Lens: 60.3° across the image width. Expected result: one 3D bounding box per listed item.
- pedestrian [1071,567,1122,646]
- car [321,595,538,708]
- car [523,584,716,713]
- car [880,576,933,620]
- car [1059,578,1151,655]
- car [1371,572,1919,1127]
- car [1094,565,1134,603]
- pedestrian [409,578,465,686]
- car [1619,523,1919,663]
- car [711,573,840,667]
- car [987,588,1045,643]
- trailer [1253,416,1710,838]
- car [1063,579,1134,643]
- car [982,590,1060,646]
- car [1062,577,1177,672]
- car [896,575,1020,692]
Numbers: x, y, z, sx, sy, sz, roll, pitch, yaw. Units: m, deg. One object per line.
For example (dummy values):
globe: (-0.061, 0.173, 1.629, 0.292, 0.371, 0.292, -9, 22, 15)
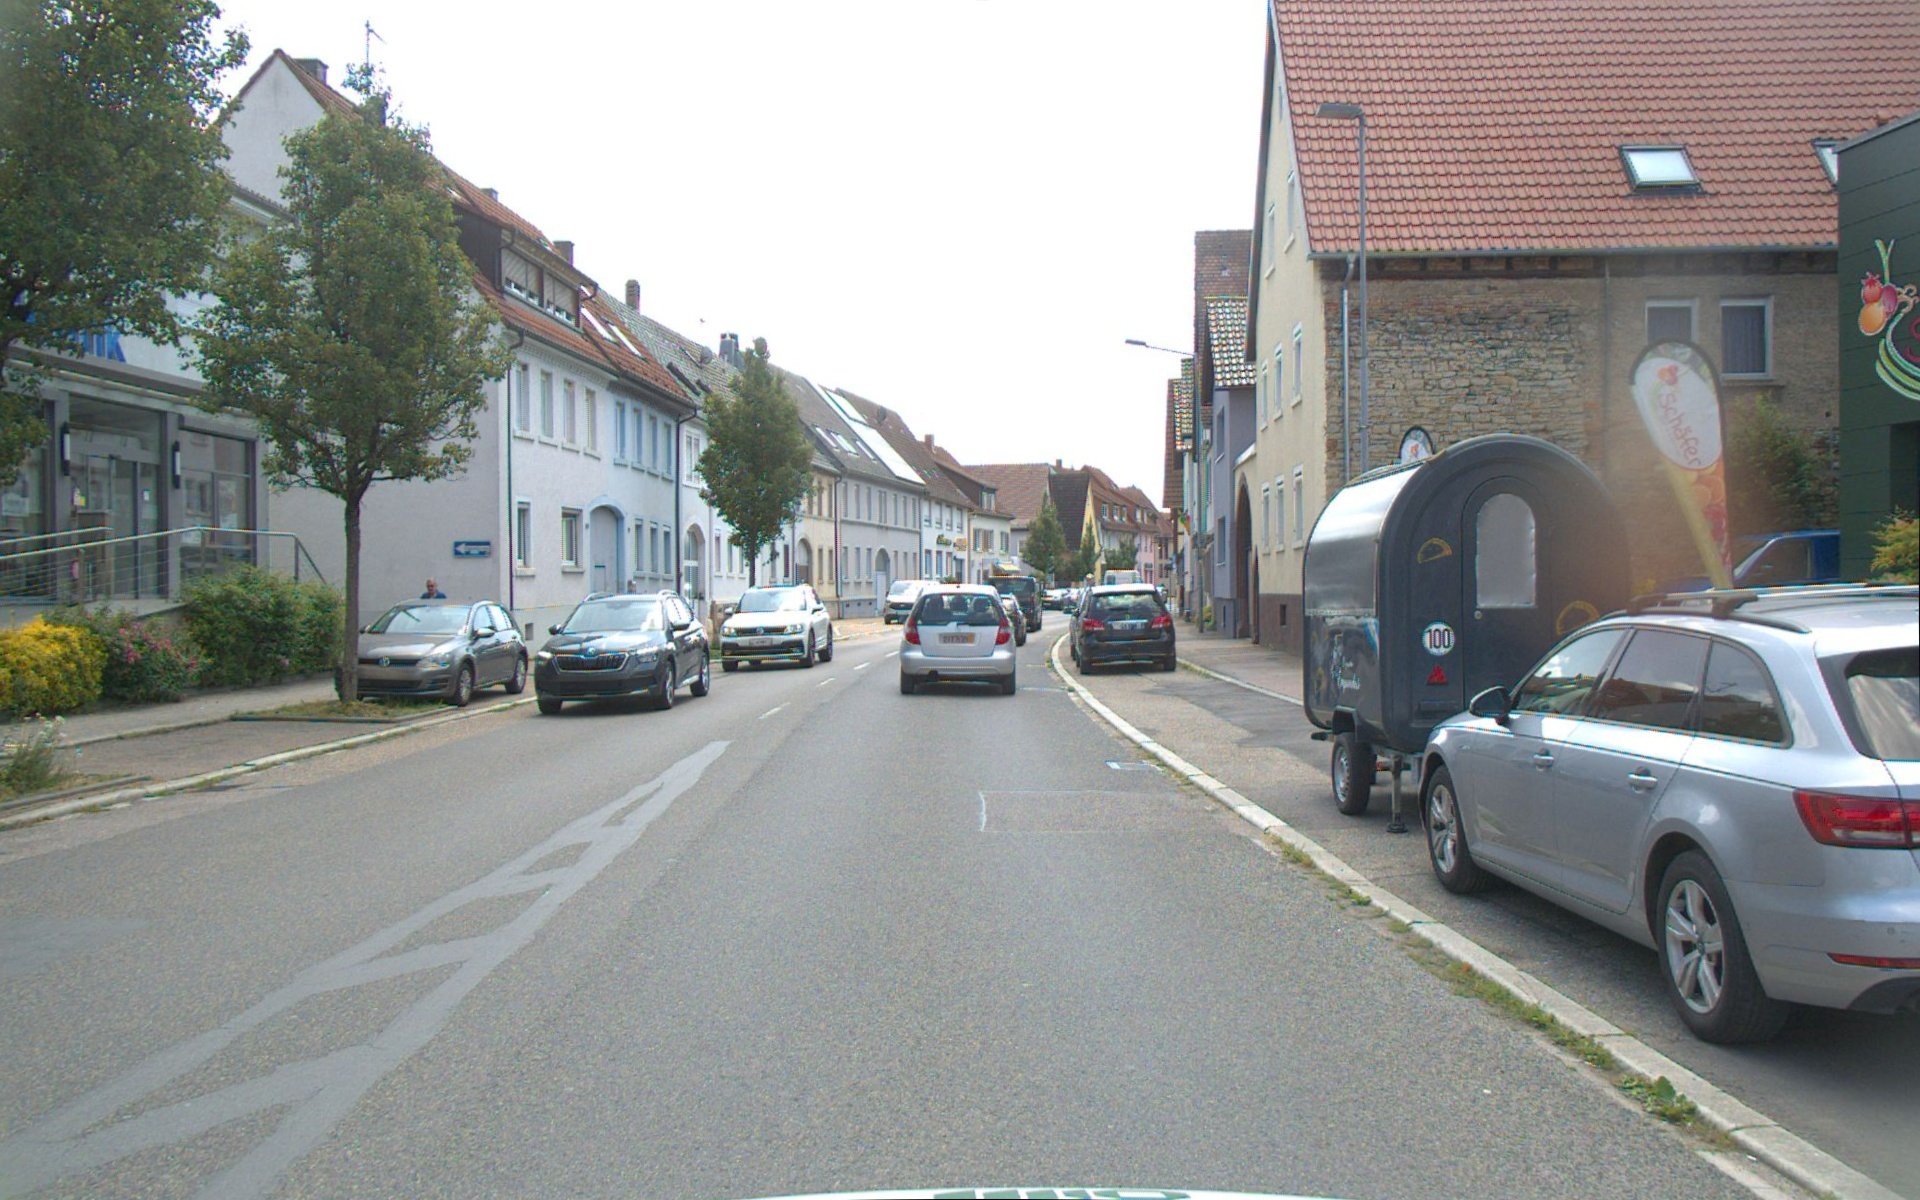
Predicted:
pedestrian: (3.300, 0.159, 39.852, 1.072, 1.853, 1.471, -1, 0, 10)
car: (-7.601, 0.683, 24.137, 1.767, 1.486, 4.159, 0, 0, 1)
car: (-4.573, 0.587, 22.796, 1.707, 1.553, 4.020, -2, 1, 1)
car: (-2.409, -0.117, 75.435, 2.048, 1.917, 4.002, -1, 0, 4)
car: (3.191, 0.363, 36.973, 1.822, 1.558, 4.198, -2, 0, 2)
car: (3.316, 0.655, 6.922, 1.838, 1.507, 4.672, -1, 0, -2)
car: (9.483, -0.965, 101.599, 2.188, 2.261, 4.003, -2, 0, 9)
pedestrian: (-9.073, 0.548, 28.701, 0.724, 1.833, 0.642, -2, -1, -1)
car: (12.892, -0.132, 25.152, 4.952, 1.984, 1.998, -1, 0, -5)
car: (-3.750, 0.358, 34.404, 1.913, 1.816, 4.654, 0, 1, 3)
car: (2.131, 0.558, 61.620, 1.731, 1.921, 4.450, 2, 0, 7)
trailer: (3.343, 0.134, 11.361, 1.808, 2.395, 3.587, -1, 1, -3)
car: (3.891, 0.300, 46.226, 1.821, 1.654, 4.199, -2, 0, 5)
car: (1.742, 0.492, 46.335, 1.904, 1.432, 4.002, 2, 0, 6)
car: (2.961, 0.409, 31.030, 1.951, 1.586, 4.003, -2, 1, 5)
car: (-0.101, 0.487, 25.722, 1.733, 1.622, 3.998, 2, 0, -2)
